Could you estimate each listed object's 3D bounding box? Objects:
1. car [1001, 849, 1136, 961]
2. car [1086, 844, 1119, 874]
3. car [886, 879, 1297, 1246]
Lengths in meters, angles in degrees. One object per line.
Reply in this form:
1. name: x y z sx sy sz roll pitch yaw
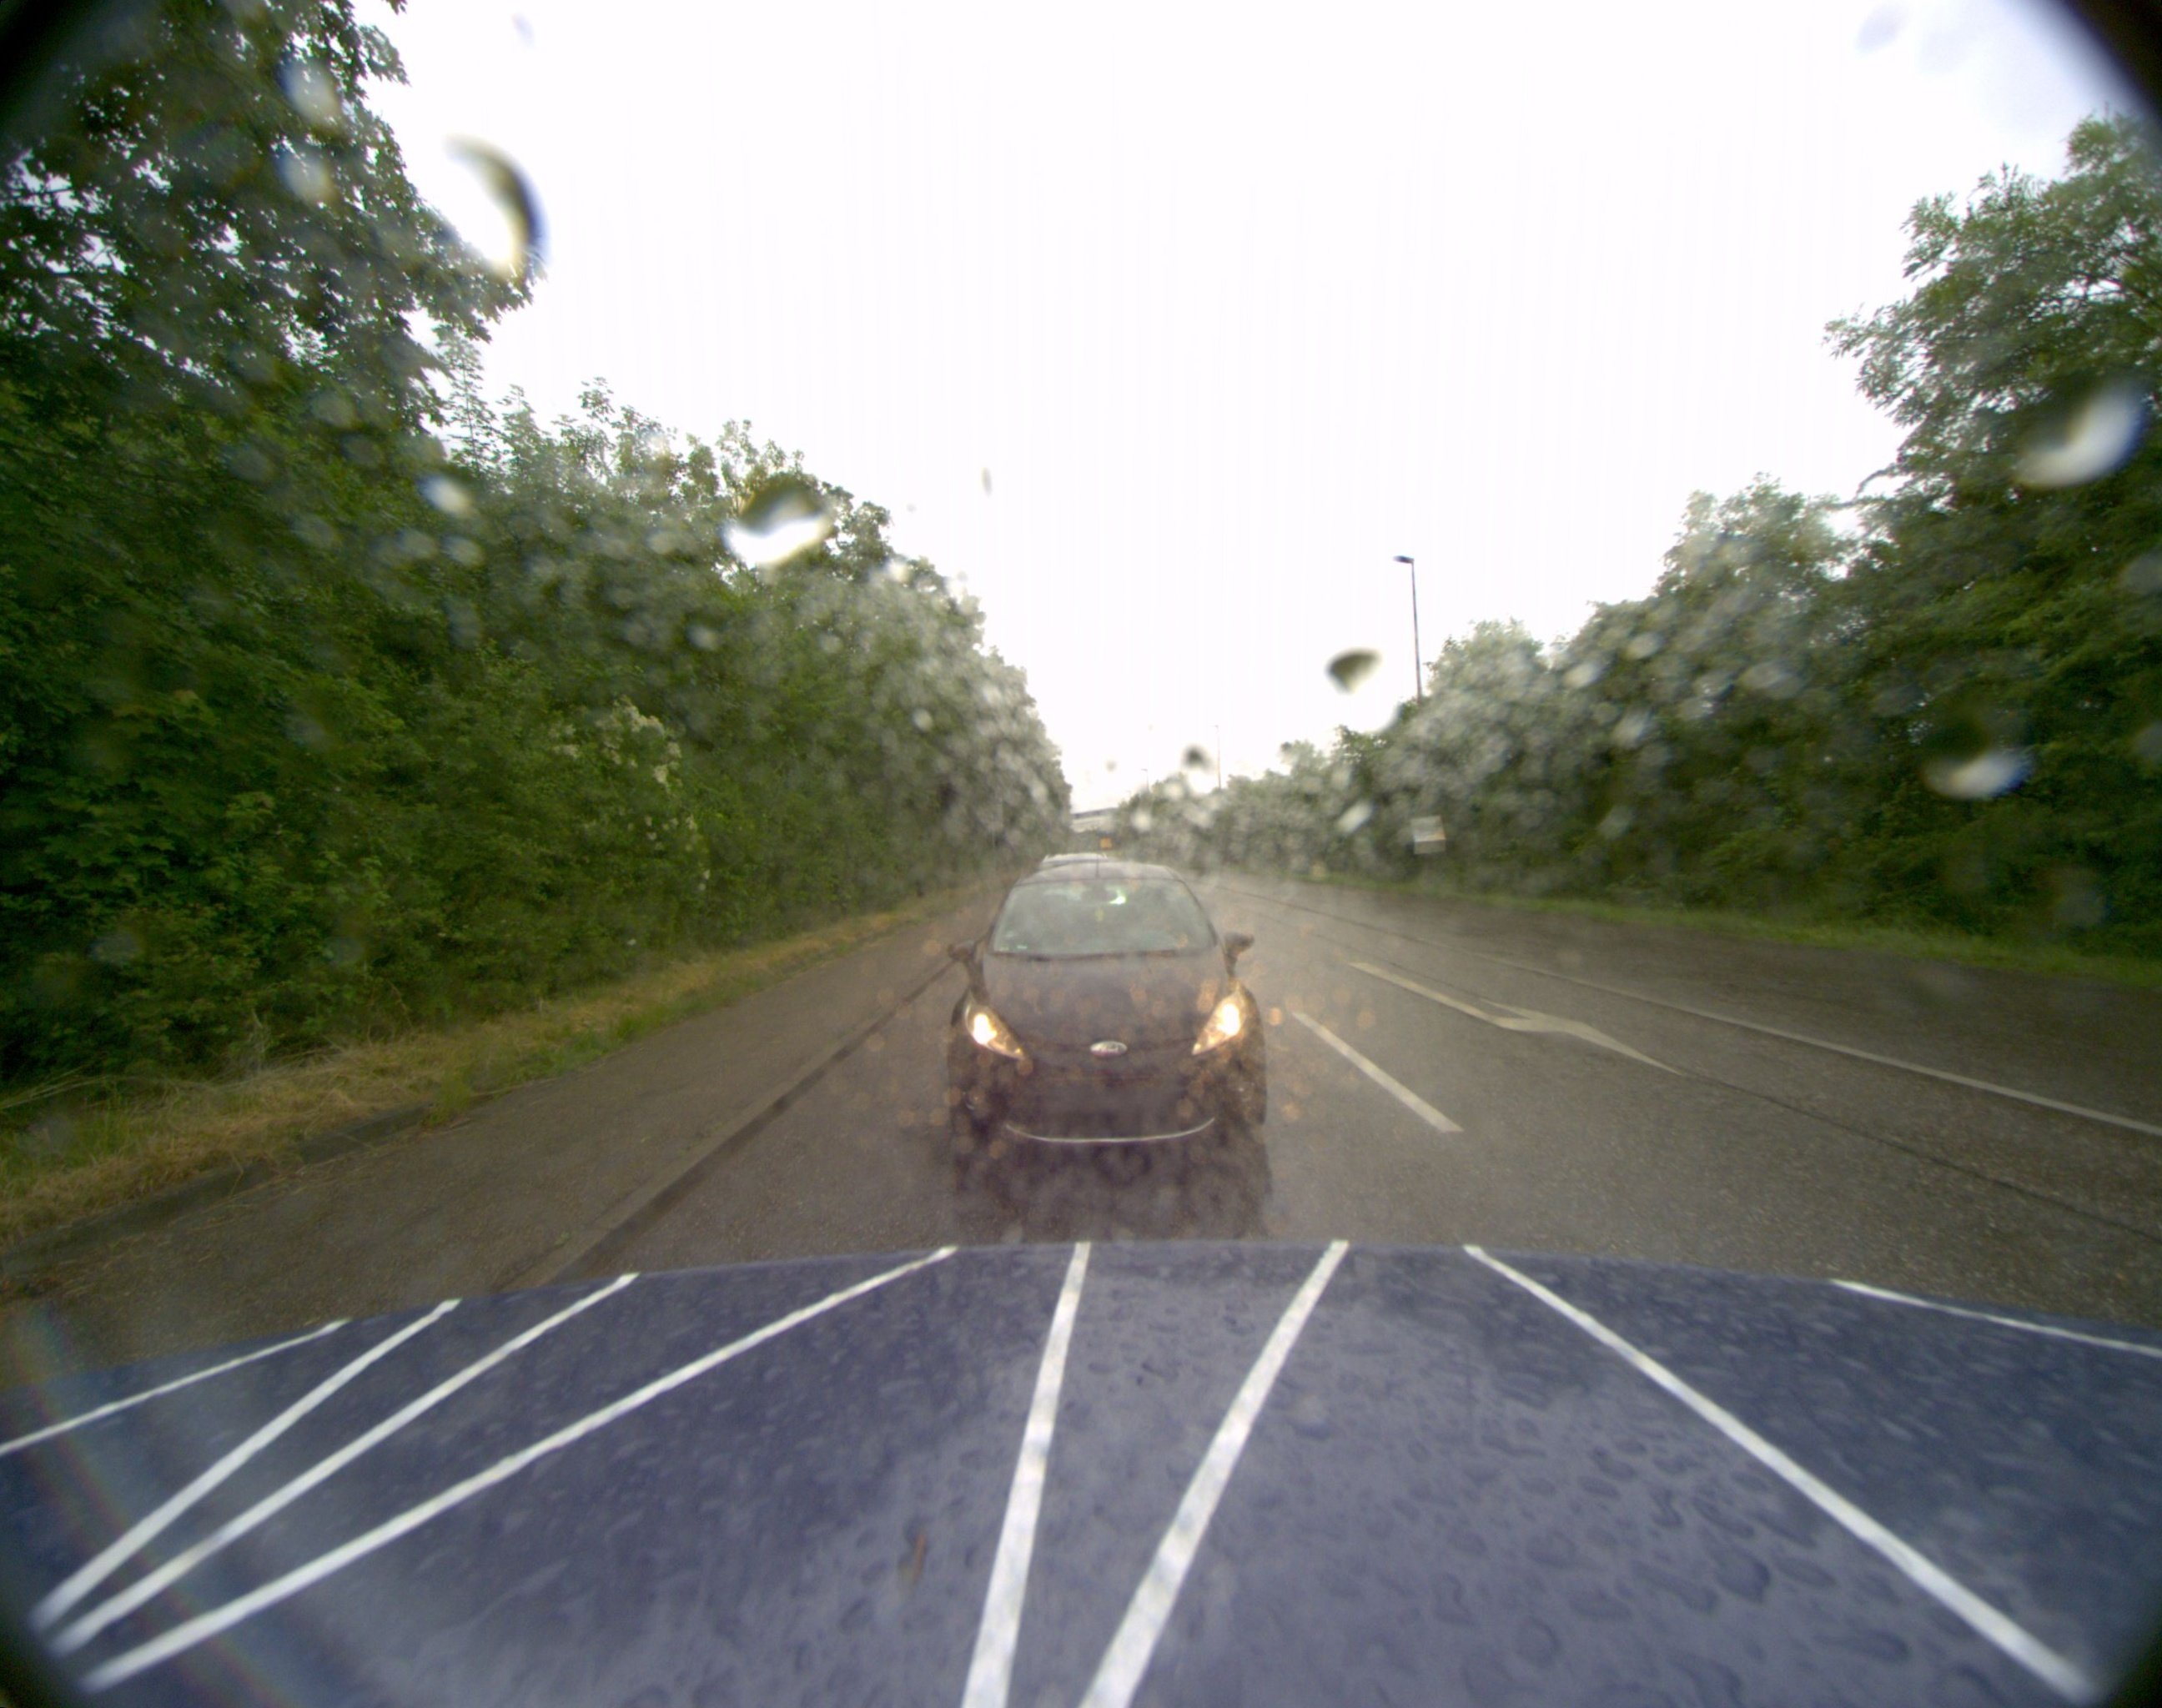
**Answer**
1. car: -0.167 0.771 13.603 1.998 1.576 3.999 -2 1 1
2. car: 1.356 0.329 49.297 1.998 1.777 4.000 -2 0 0
3. car: 0.077 1.035 5.662 1.839 1.404 4.342 -2 1 1
